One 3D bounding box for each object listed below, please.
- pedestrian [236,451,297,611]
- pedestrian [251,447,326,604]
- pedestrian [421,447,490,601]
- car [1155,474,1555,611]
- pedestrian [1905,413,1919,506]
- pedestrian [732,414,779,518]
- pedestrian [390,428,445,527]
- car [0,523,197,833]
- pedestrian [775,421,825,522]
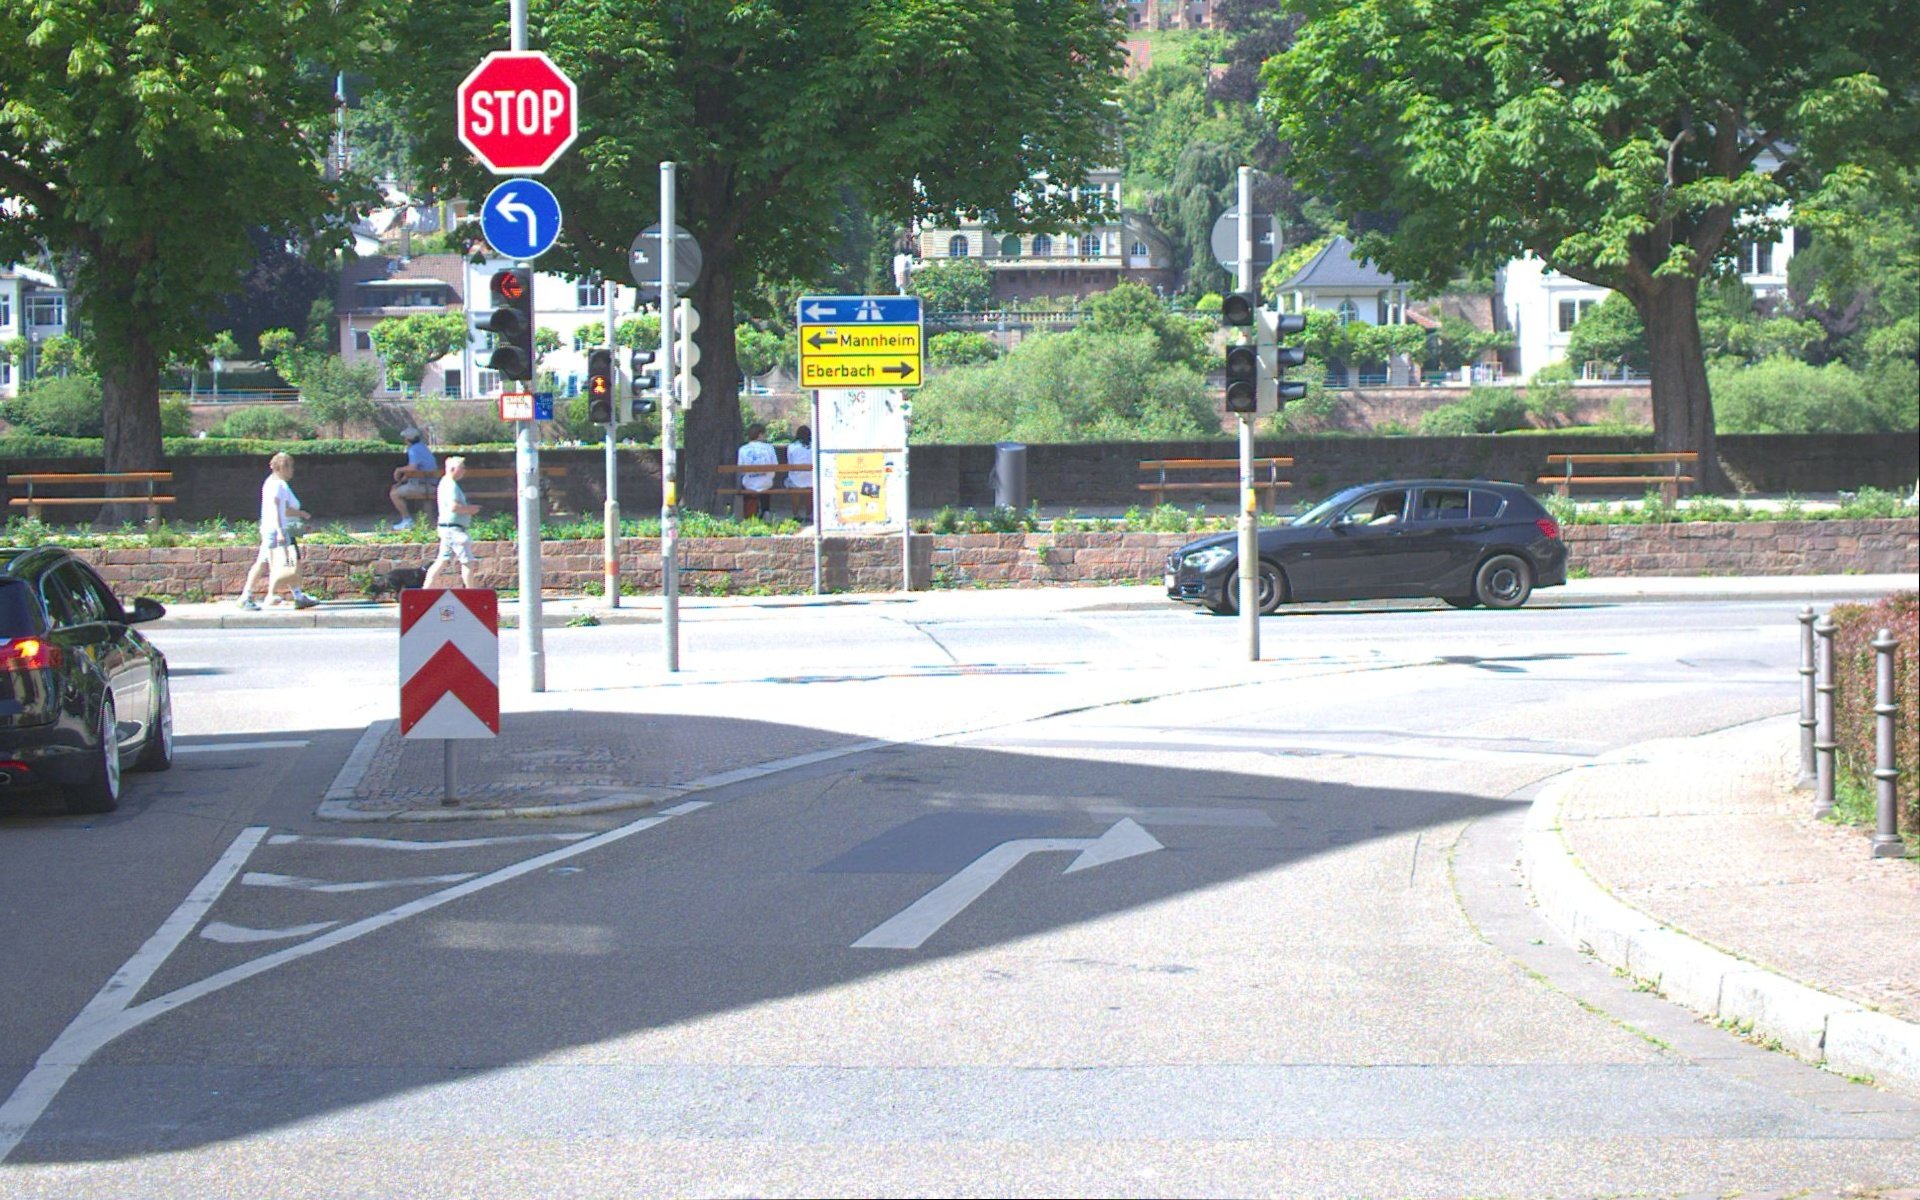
[{"bbox_3d":[-7.821,-0.781,38.798,0.578,1.795,0.705,0,1,-3],"label":"pedestrian"},{"bbox_3d":[-7.846,-0.871,40.184,0.722,1.795,0.634,-2,1,-3],"label":"pedestrian"},{"bbox_3d":[-5.892,-0.885,40.181,0.688,1.763,0.717,-2,1,-3],"label":"pedestrian"},{"bbox_3d":[4.224,-0.642,37.153,3.986,1.413,1.875,0,2,-5],"label":"car"},{"bbox_3d":[13.062,-1.853,45.621,0.797,1.207,0.715,2,-1,-3],"label":"pedestrian"},{"bbox_3d":[-2.610,-1.702,43.884,0.553,1.275,0.704,2,-1,-4],"label":"pedestrian"},{"bbox_3d":[-6.802,-1.535,43.105,0.641,1.224,0.414,0,1,-16],"label":"pedestrian"},{"bbox_3d":[-5.458,0.365,19.395,1.714,1.457,4.726,-3,2,-7],"label":"car"},{"bbox_3d":[-2.051,-1.641,44.092,0.553,1.224,0.986,2,-1,-6],"label":"pedestrian"}]
